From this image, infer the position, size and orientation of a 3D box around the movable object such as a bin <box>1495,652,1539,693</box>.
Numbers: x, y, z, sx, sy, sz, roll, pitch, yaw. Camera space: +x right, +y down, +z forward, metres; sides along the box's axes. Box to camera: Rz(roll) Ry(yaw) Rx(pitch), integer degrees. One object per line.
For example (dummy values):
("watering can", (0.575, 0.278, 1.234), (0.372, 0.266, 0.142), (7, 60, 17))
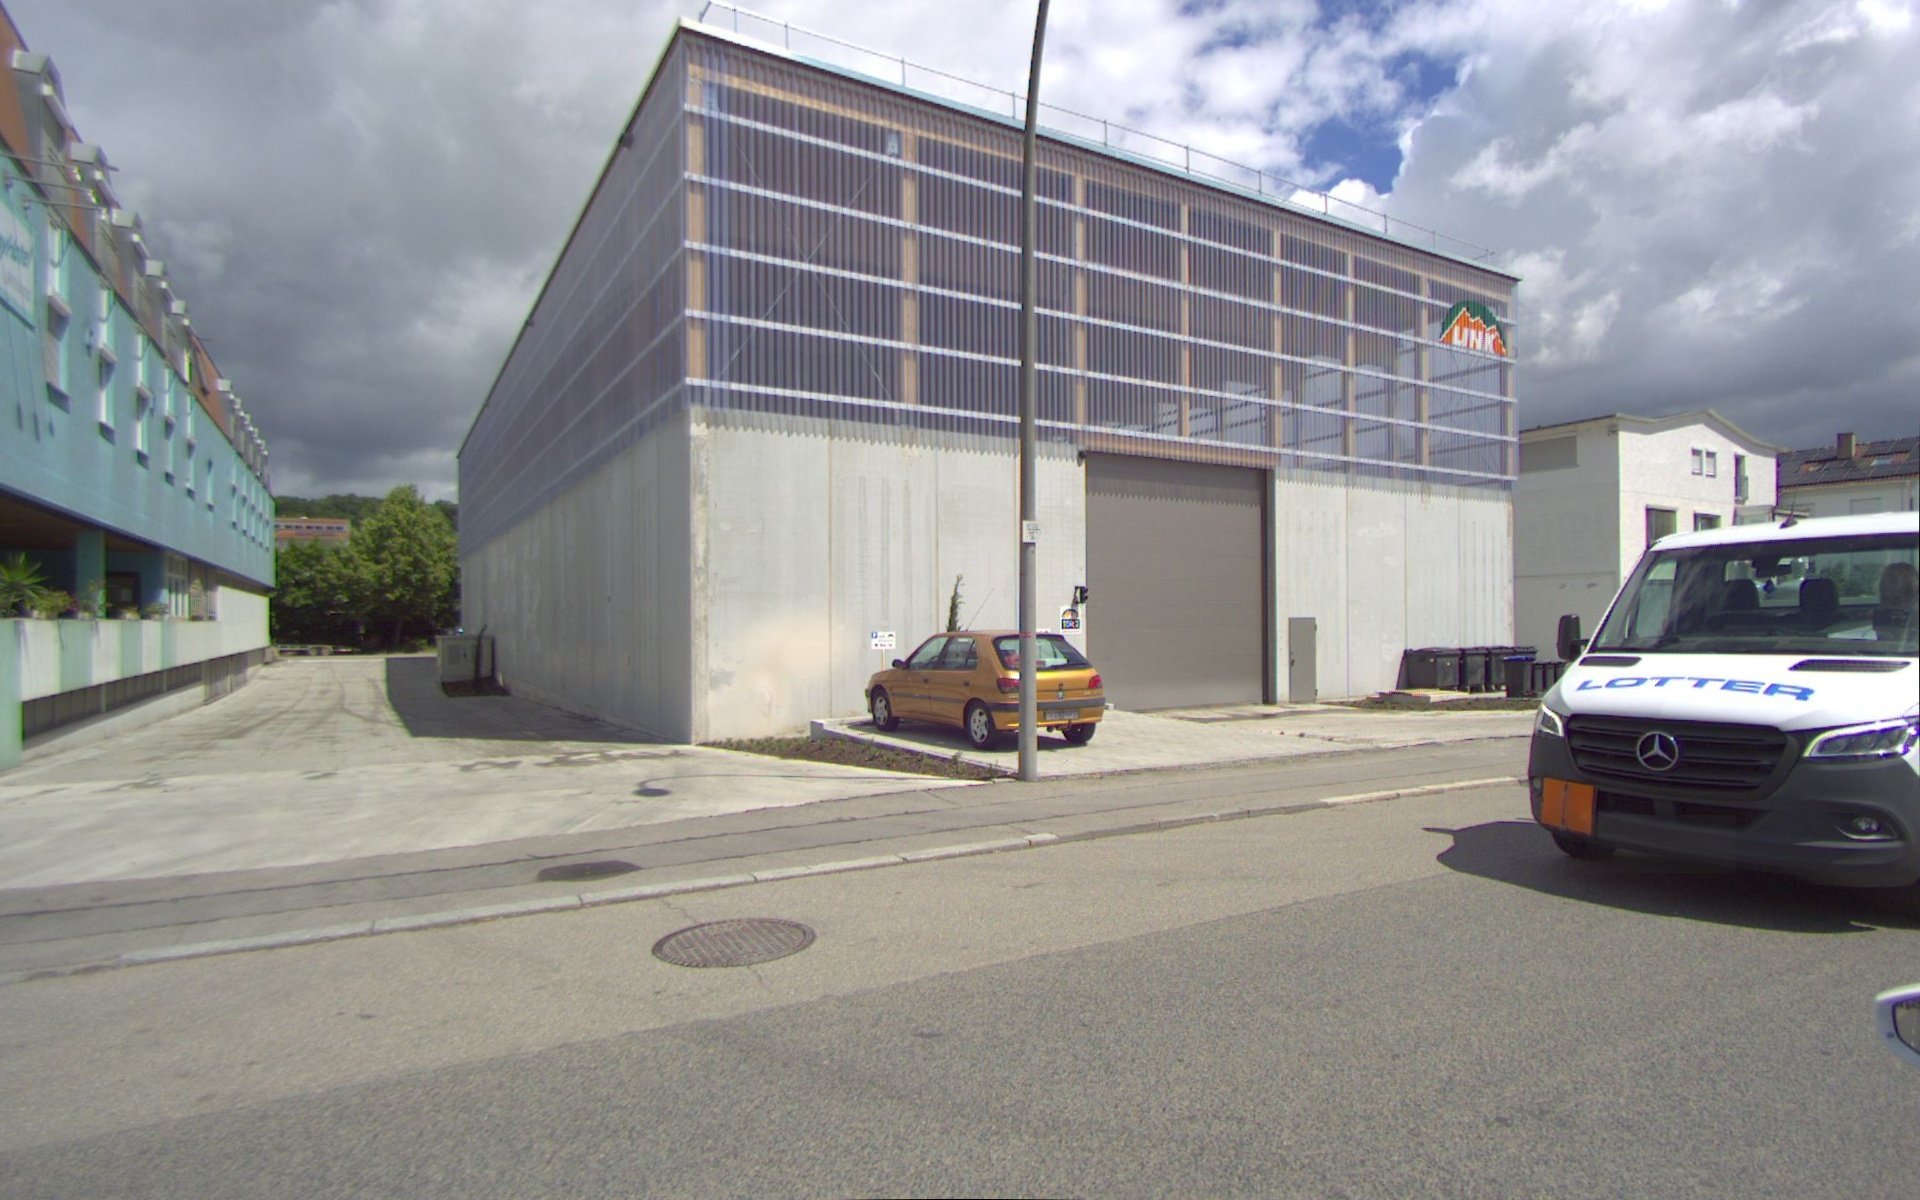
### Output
("movable object such as a bin", (14.672, 1.911, 26.462), (0.703, 1.044, 0.740), (1, -2, -29))

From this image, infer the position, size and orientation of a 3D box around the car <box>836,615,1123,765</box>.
("car", (0.084, 1.041, 13.400), (1.806, 1.512, 4.125), (0, 1, -33))

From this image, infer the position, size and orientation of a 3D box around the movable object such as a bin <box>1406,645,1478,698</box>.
("movable object such as a bin", (13.629, 2.004, 28.399), (1.796, 1.374, 0.953), (1, 1, -29))

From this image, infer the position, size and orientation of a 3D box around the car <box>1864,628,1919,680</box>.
("car", (30.868, 1.699, 30.836), (1.968, 1.586, 4.260), (4, -3, -29))

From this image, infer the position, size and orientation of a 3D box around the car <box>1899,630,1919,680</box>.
("car", (32.955, 1.826, 31.877), (1.969, 1.586, 4.258), (5, -3, -31))

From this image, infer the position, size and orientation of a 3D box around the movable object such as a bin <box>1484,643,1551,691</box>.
("movable object such as a bin", (16.799, 2.010, 30.260), (1.796, 1.374, 0.953), (1, -2, -29))

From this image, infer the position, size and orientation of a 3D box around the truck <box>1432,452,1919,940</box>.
("truck", (6.440, 0.499, 7.119), (6.369, 2.207, 2.309), (1, -2, -29))

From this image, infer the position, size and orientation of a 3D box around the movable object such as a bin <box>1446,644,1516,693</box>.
("movable object such as a bin", (15.206, 1.976, 29.319), (1.796, 1.374, 0.953), (1, -2, -29))

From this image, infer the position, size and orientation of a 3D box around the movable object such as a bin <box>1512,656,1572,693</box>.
("movable object such as a bin", (15.641, 1.980, 26.994), (1.500, 0.931, 0.740), (1, -2, -29))
